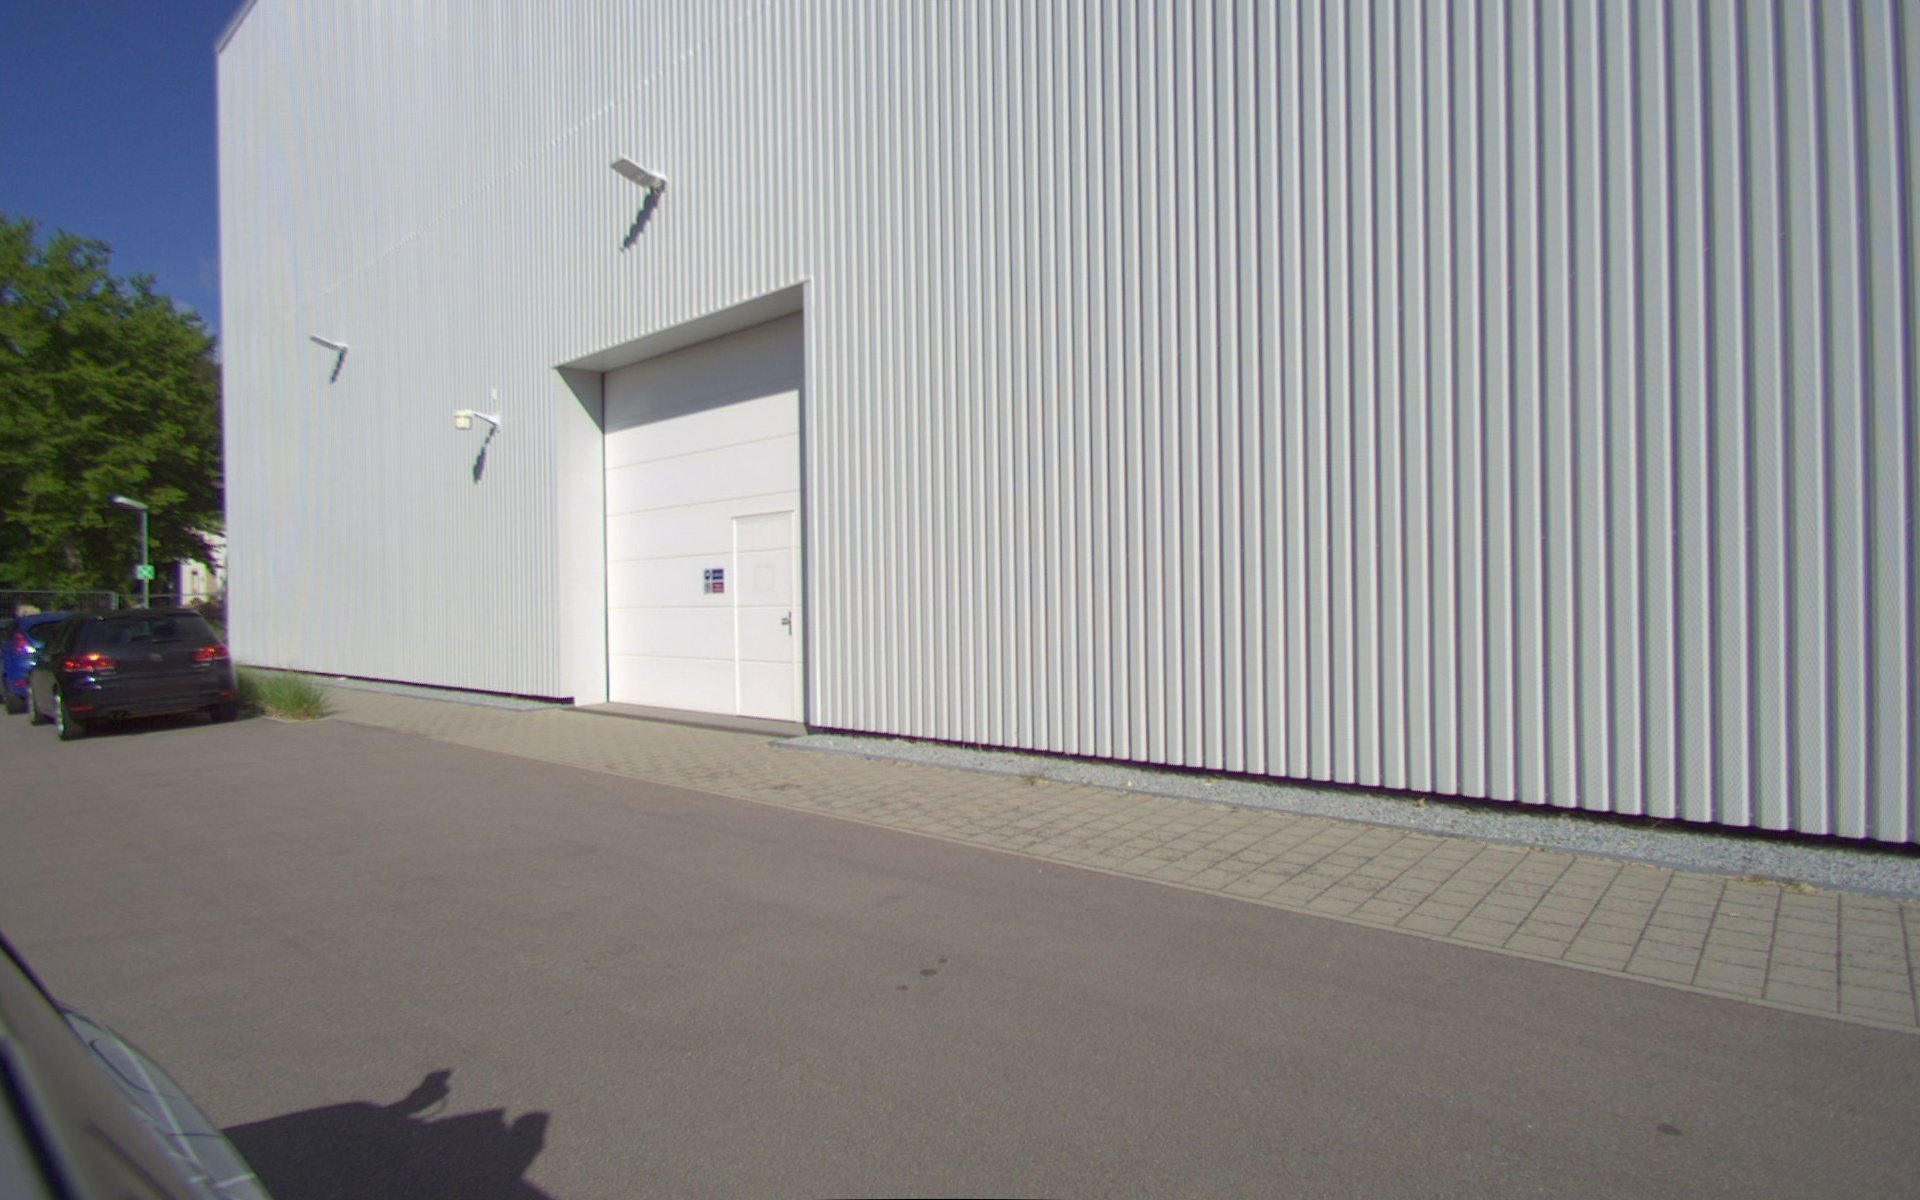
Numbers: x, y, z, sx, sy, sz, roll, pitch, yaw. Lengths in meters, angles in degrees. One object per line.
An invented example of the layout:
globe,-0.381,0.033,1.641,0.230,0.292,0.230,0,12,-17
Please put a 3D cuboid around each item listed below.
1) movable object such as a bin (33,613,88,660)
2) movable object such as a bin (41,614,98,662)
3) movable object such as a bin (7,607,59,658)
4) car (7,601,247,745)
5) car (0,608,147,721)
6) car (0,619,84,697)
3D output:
movable object such as a bin,-29.474,1.192,33.177,1.228,1.450,1.080,0,2,36
movable object such as a bin,-28.448,1.208,32.325,1.228,1.443,1.080,0,2,36
movable object such as a bin,-31.204,1.077,34.074,1.228,1.609,1.080,1,1,36
car,-10.904,0.831,13.131,4.292,1.511,1.736,-1,1,42
car,-14.634,0.952,16.297,4.092,1.511,1.614,-1,2,40
car,-18.742,1.090,19.867,4.051,1.371,1.756,-1,0,41
